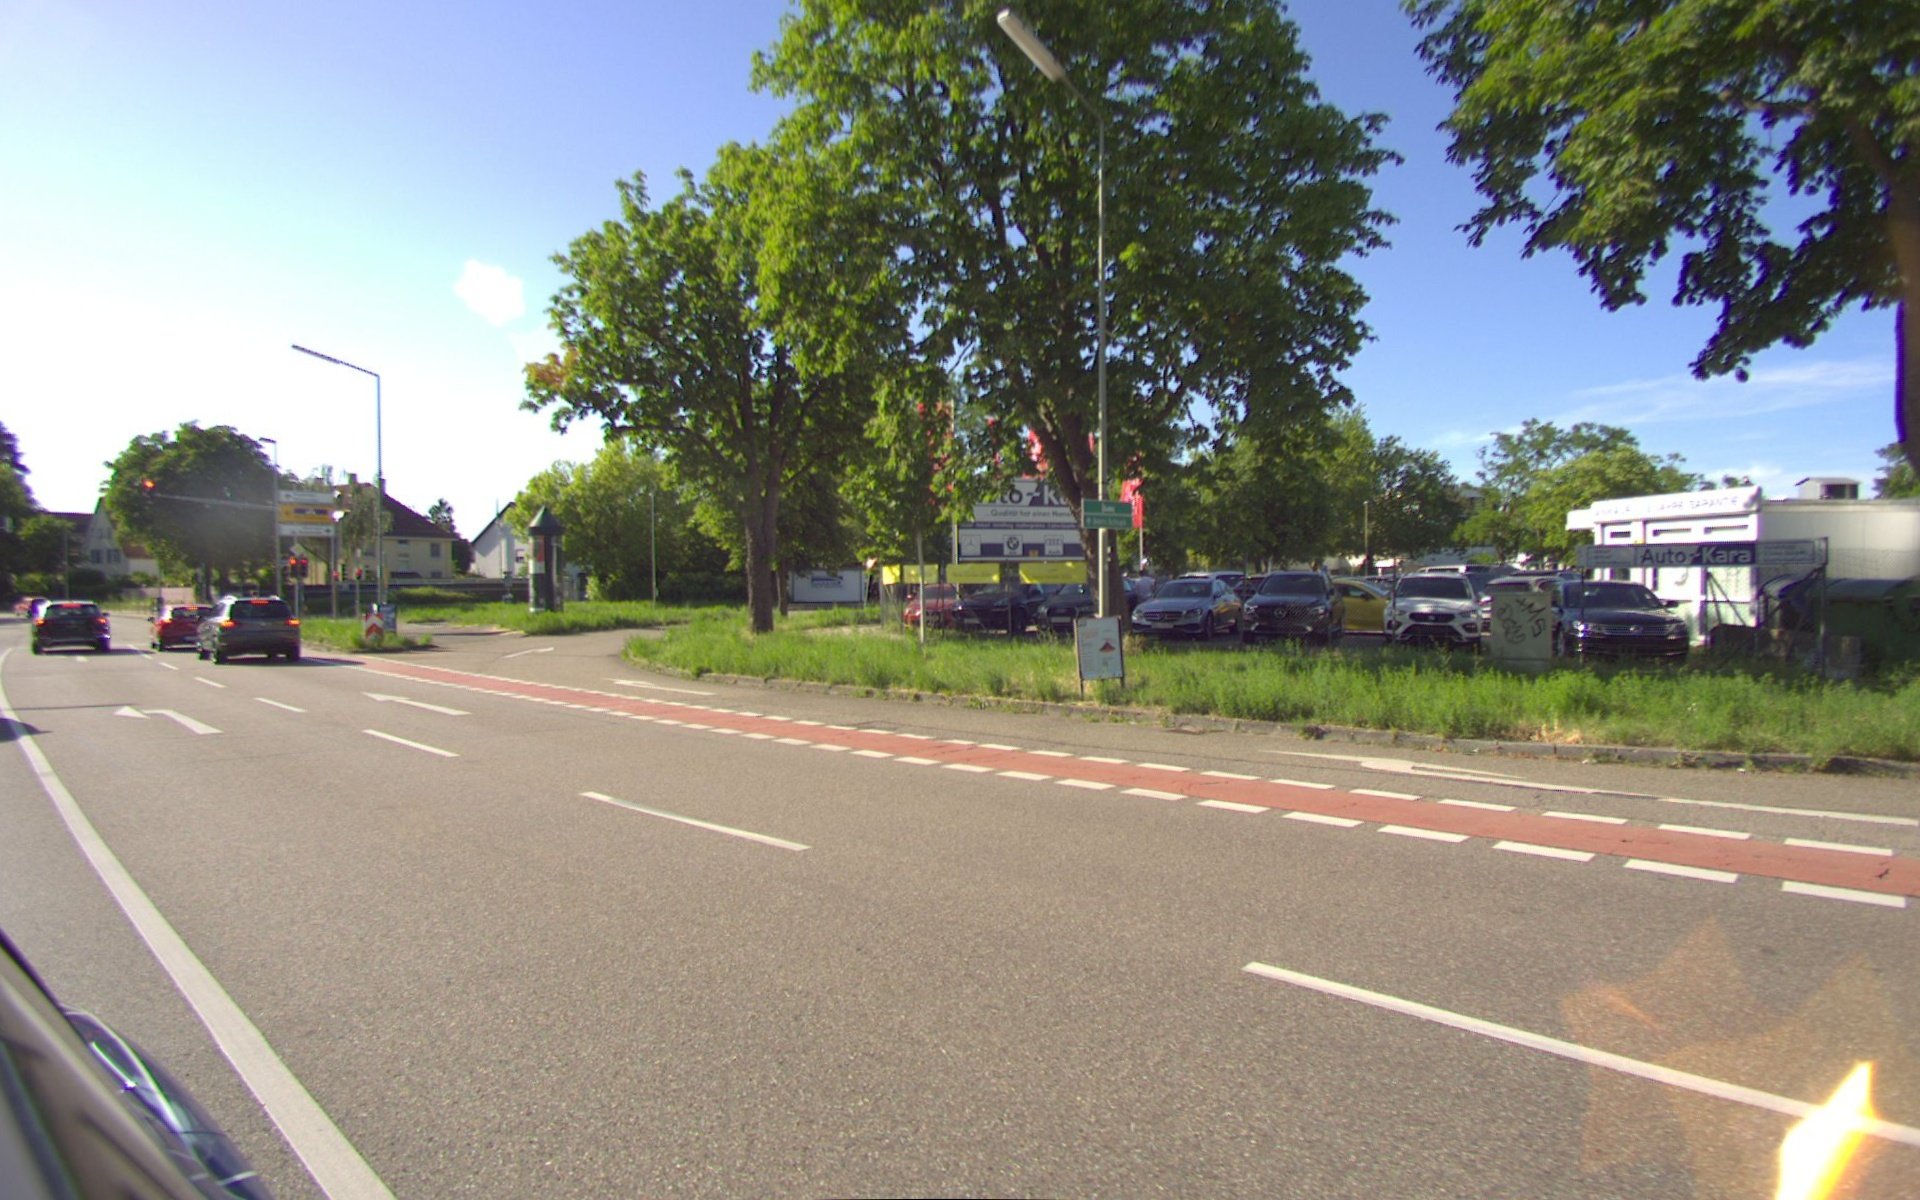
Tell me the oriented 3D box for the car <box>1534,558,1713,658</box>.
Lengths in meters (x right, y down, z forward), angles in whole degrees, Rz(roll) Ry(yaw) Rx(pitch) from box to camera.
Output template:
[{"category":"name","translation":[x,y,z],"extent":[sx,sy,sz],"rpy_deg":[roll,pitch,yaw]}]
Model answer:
[{"category":"car","translation":[11.934,0.117,18.527],"extent":[1.801,1.587,4.378],"rpy_deg":[-1,0,21]}]

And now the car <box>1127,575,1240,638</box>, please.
[{"category":"car","translation":[5.577,0.132,24.904],"extent":[1.935,1.423,3.848],"rpy_deg":[-1,0,25]}]

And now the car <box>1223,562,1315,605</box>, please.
[{"category":"car","translation":[15.249,-0.798,50.082],"extent":[1.967,2.029,4.010],"rpy_deg":[-1,0,-34]}]

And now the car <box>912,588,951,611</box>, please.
[{"category":"car","translation":[-2.610,-0.069,92.729],"extent":[1.966,2.029,4.013],"rpy_deg":[-1,0,-28]}]

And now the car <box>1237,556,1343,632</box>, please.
[{"category":"car","translation":[7.624,-0.137,23.166],"extent":[1.987,1.572,3.970],"rpy_deg":[-1,0,23]}]

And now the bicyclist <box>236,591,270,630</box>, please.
[{"category":"bicyclist","translation":[-26.013,0.389,37.225],"extent":[0.922,1.412,0.823],"rpy_deg":[-1,0,-42]}]

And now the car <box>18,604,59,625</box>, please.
[{"category":"car","translation":[-72.826,1.128,80.000],"extent":[1.833,1.481,4.149],"rpy_deg":[-1,1,-35]}]

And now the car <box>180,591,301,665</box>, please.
[{"category":"car","translation":[-18.876,0.698,26.486],"extent":[4.271,1.749,1.832],"rpy_deg":[-1,0,44]}]

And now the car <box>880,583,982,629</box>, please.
[{"category":"car","translation":[-0.832,0.155,32.761],"extent":[2.335,1.320,5.045],"rpy_deg":[-1,0,10]}]

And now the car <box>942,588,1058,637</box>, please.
[{"category":"car","translation":[1.220,0.324,28.522],"extent":[2.031,1.249,3.903],"rpy_deg":[-1,0,23]}]

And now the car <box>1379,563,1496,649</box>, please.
[{"category":"car","translation":[10.103,0.086,21.245],"extent":[1.915,1.623,3.959],"rpy_deg":[0,1,30]}]

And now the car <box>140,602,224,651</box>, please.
[{"category":"car","translation":[-24.776,0.801,32.193],"extent":[1.763,1.425,3.894],"rpy_deg":[-1,0,-43]}]

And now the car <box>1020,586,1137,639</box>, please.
[{"category":"car","translation":[3.175,0.289,26.421],"extent":[2.031,1.249,3.903],"rpy_deg":[-1,0,23]}]

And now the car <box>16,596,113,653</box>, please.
[{"category":"car","translation":[-27.159,0.708,30.658],"extent":[4.001,1.611,1.892],"rpy_deg":[-1,-1,44]}]
